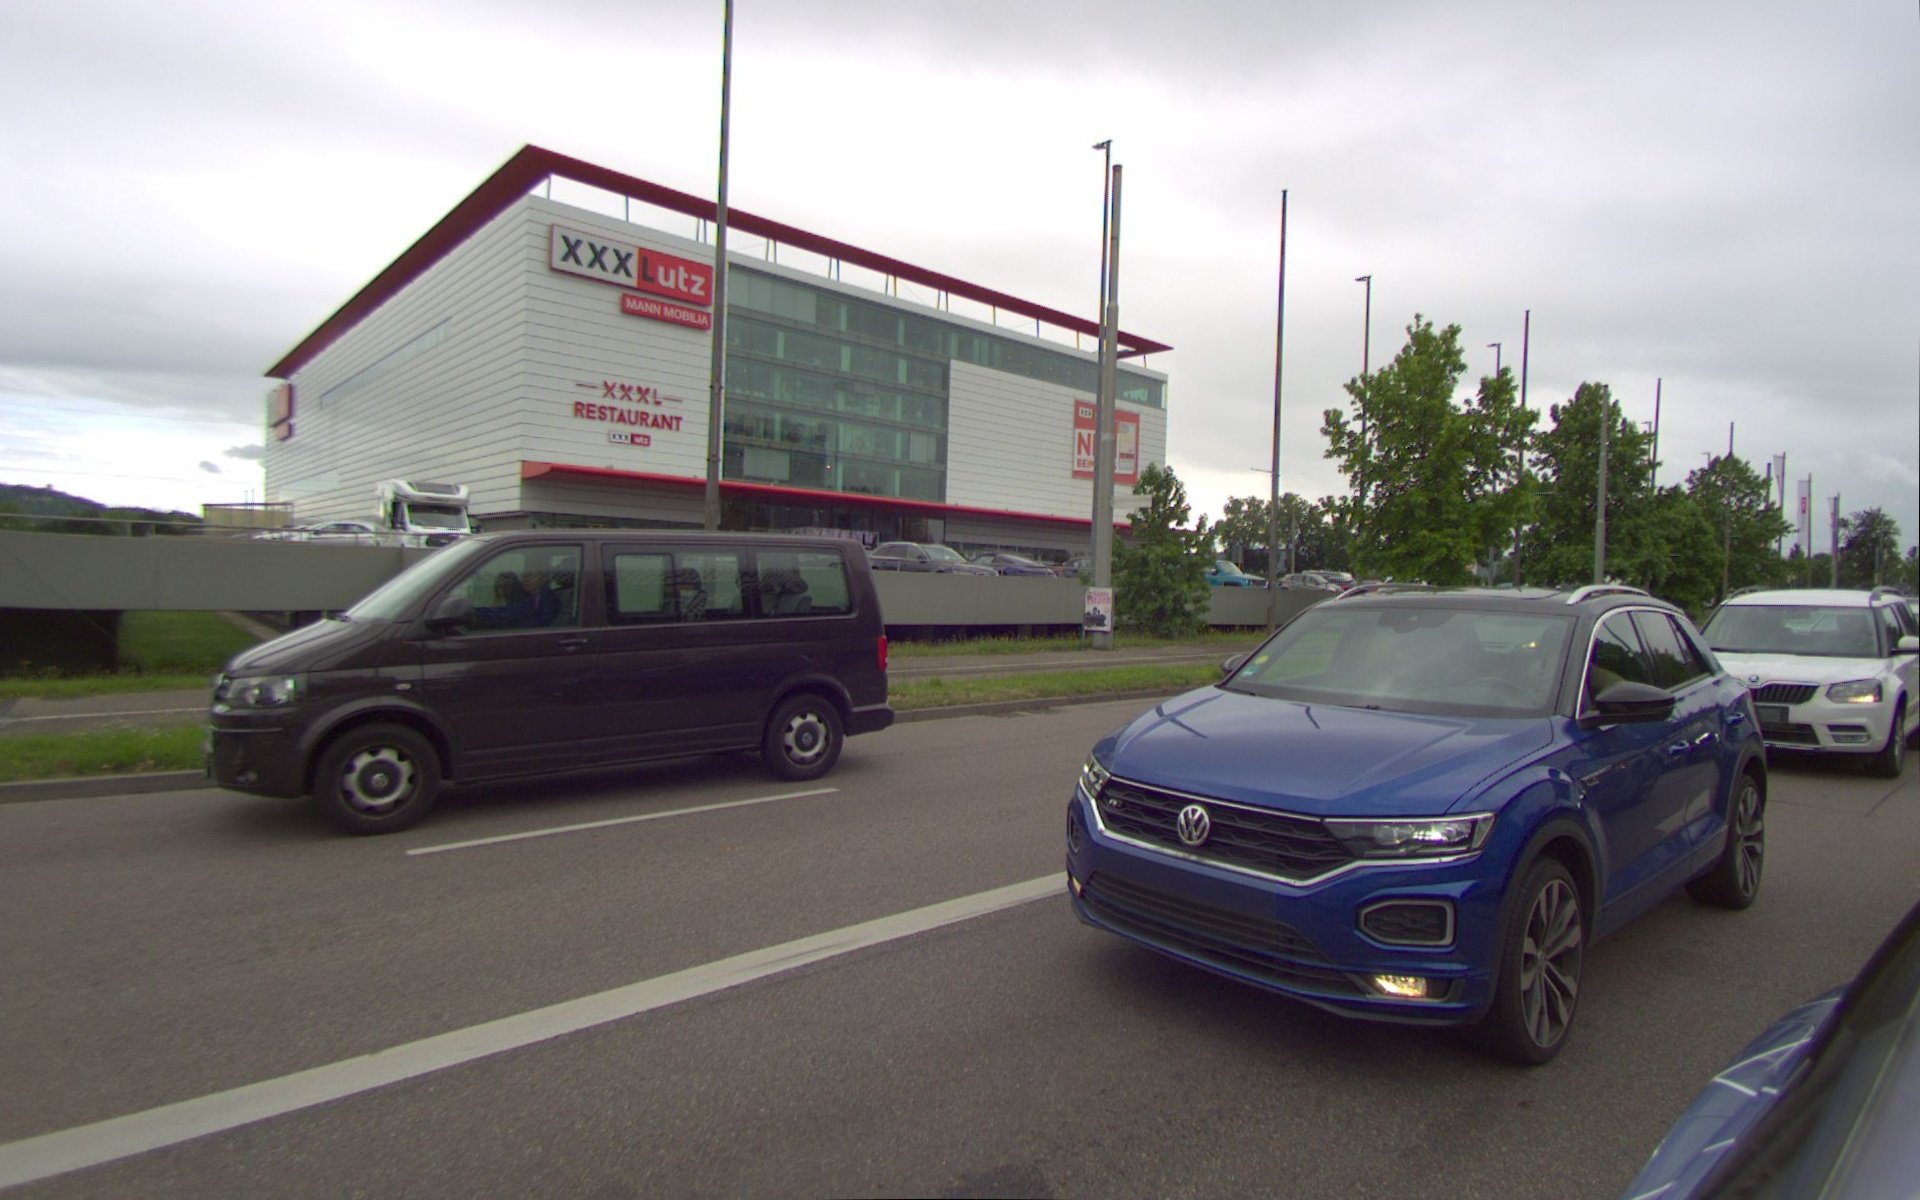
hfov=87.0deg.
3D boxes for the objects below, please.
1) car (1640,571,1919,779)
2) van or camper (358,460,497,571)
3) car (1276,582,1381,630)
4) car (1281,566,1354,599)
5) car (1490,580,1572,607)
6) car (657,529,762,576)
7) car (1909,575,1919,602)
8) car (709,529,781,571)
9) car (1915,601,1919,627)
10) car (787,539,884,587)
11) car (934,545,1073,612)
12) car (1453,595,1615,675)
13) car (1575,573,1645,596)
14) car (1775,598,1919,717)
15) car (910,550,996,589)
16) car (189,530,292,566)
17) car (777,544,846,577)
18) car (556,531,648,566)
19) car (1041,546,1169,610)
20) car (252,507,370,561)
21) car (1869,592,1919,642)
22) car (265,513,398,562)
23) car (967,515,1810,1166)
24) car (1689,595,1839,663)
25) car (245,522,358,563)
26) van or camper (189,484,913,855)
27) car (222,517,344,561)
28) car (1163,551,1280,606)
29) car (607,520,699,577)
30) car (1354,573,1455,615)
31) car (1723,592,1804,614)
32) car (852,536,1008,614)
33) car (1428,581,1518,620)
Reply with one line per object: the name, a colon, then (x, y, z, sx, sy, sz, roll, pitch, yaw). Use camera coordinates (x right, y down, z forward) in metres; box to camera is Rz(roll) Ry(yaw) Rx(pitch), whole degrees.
car: (8.514, 0.568, 10.071, 4.297, 1.645, 1.798, -1, 0, -40)
van or camper: (-18.000, -2.637, 33.956, 2.667, 3.175, 7.226, 0, 0, -40)
car: (16.408, 0.231, 45.186, 1.966, 2.039, 3.991, 0, 0, -42)
car: (22.891, -1.092, 64.938, 1.966, 2.039, 3.991, 0, 0, -42)
car: (35.025, -0.408, 62.148, 1.765, 1.585, 3.994, -1, 0, -40)
car: (-8.729, -1.598, 35.063, 1.839, 1.455, 3.984, -1, 1, -44)
car: (83.724, -0.942, 87.678, 3.933, 2.270, 1.996, 1, 1, -44)
car: (-11.366, -2.597, 53.391, 1.966, 2.039, 3.991, 0, 0, -42)
car: (61.365, 0.916, 63.458, 4.144, 1.594, 1.800, 3, -2, -41)
car: (-5.658, -1.628, 45.850, 4.152, 2.039, 1.975, 0, 0, 35)
car: (1.258, -0.623, 30.627, 1.967, 1.872, 3.991, -1, 0, -43)
car: (11.311, 0.608, 19.837, 3.860, 1.389, 1.691, -1, 1, -43)
car: (47.500, -1.110, 74.001, 1.765, 1.585, 3.994, -1, 0, -40)
car: (13.027, 0.703, 14.181, 4.145, 1.433, 1.800, -1, 0, -41)
car: (-0.373, -1.440, 48.981, 1.967, 1.761, 3.991, -1, 0, -43)
car: (-36.780, -2.628, 51.782, 4.185, 1.697, 1.774, -1, 0, -41)
car: (-8.384, -2.193, 57.068, 1.967, 1.761, 3.991, -1, 0, -43)
car: (-18.722, -2.662, 53.017, 4.185, 1.697, 1.774, -1, 0, -41)
car: (4.882, -0.706, 34.407, 1.966, 2.039, 3.991, 0, 0, -42)
car: (-26.798, -2.664, 41.811, 3.929, 2.039, 1.998, -1, 0, -40)
car: (33.501, 0.562, 35.524, 4.297, 1.645, 1.798, -1, 0, -40)
car: (-24.315, -2.375, 39.228, 4.185, 1.697, 1.774, -1, 0, -41)
car: (2.239, 0.580, 4.642, 4.255, 1.642, 1.845, -1, 0, -40)
car: (18.845, 0.657, 23.646, 4.790, 1.429, 1.815, 2, -1, -40)
car: (-30.176, -2.593, 46.422, 4.185, 1.697, 1.774, -1, 0, -41)
van or camper: (-2.970, 0.352, 7.919, 4.852, 2.039, 2.163, -1, 0, -38)
car: (-29.050, -2.590, 43.488, 4.185, 1.697, 1.774, -1, 0, -41)
car: (10.073, -0.807, 39.199, 1.966, 2.039, 3.991, 0, 0, -42)
car: (-11.712, -1.910, 38.466, 1.839, 1.972, 3.859, 0, 0, -44)
car: (22.645, -0.329, 51.640, 1.966, 2.039, 4.317, 0, 0, -42)
car: (56.626, 0.194, 71.370, 1.771, 1.433, 4.212, -1, 1, -41)
car: (-0.925, -0.672, 28.660, 1.967, 2.039, 4.522, 0, 0, -43)
car: (28.052, 0.017, 55.421, 1.965, 2.039, 3.994, 0, 0, -41)
